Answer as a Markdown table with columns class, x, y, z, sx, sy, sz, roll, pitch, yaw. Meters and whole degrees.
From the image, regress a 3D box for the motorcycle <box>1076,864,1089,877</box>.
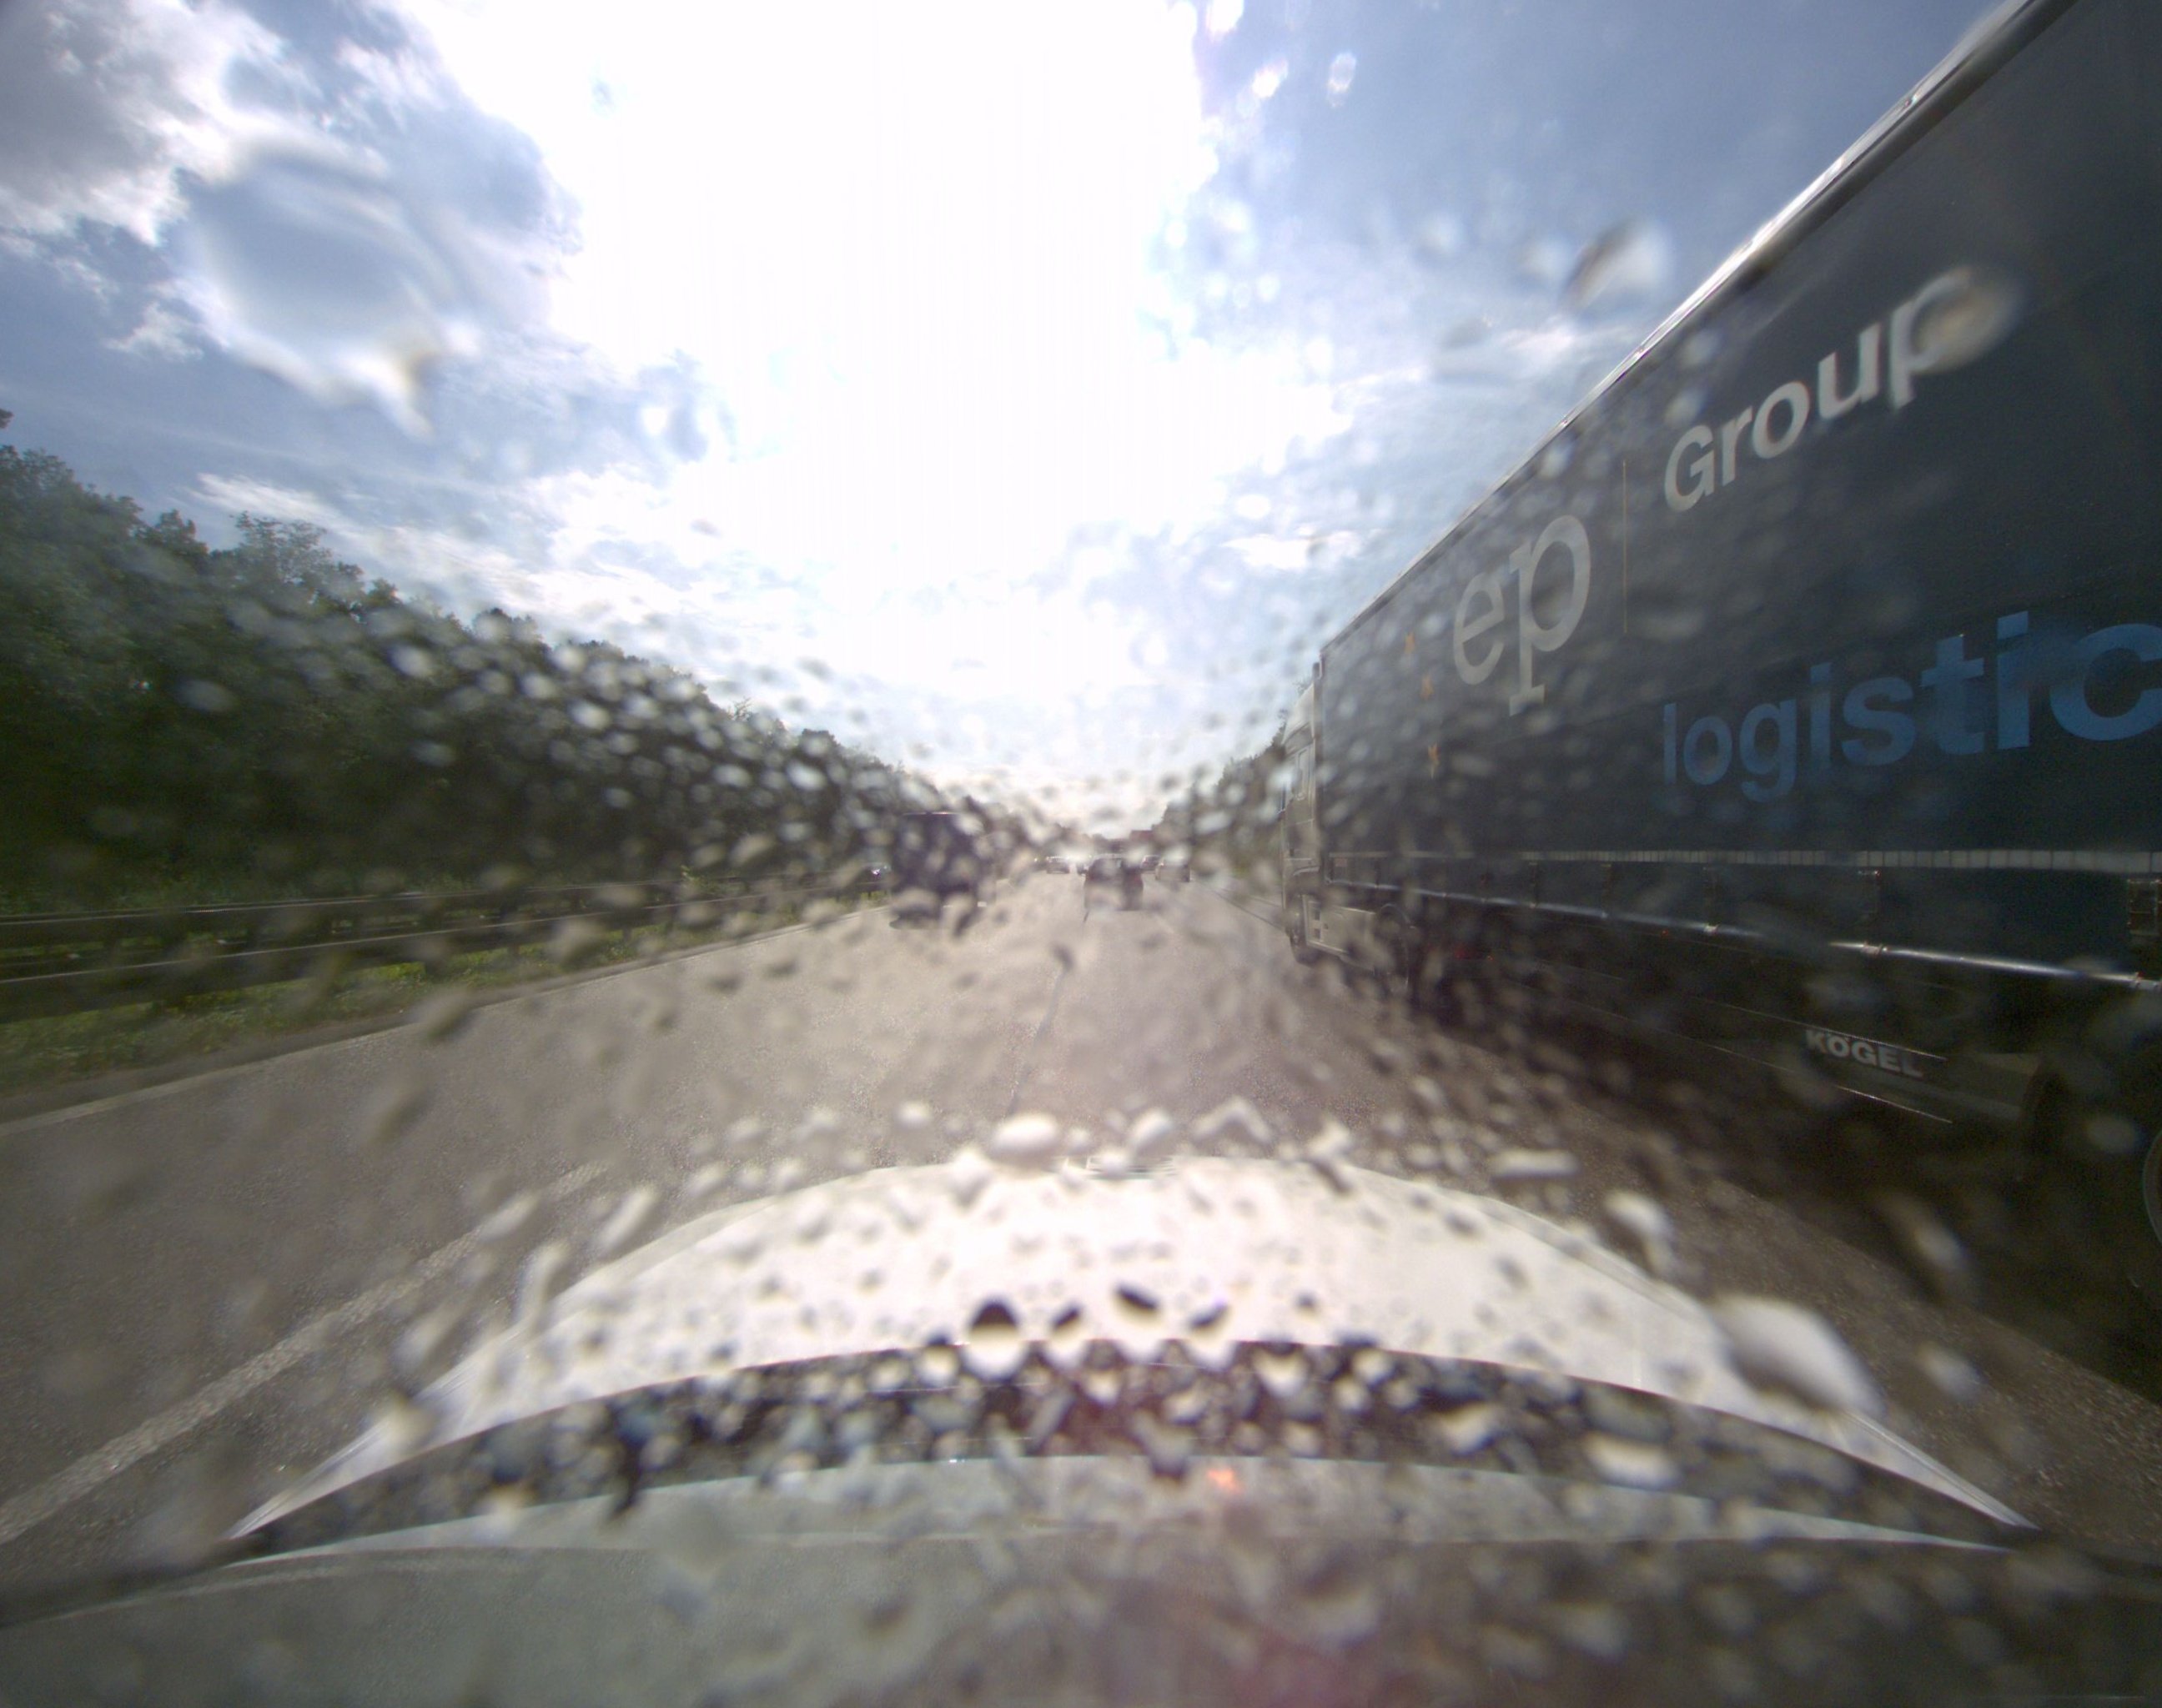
| class | x | y | z | sx | sy | sz | roll | pitch | yaw |
| --- | --- | --- | --- | --- | --- | --- | --- | --- | --- |
| motorcycle | 0.140 | 1.241 | 62.130 | 0.887 | 1.000 | 2.897 | 0 | 0 | 2 |

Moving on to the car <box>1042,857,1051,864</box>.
| class | x | y | z | sx | sy | sz | roll | pitch | yaw |
| --- | --- | --- | --- | --- | --- | --- | --- | --- | --- |
| car | -7.810 | 1.454 | 185.874 | 1.831 | 1.663 | 4.442 | 0 | 0 | 2 |

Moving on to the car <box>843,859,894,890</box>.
| class | x | y | z | sx | sy | sz | roll | pitch | yaw |
| --- | --- | --- | --- | --- | --- | --- | --- | --- | --- |
| car | -12.199 | 1.148 | 47.040 | 1.760 | 1.663 | 4.114 | 0 | 0 | 1 |

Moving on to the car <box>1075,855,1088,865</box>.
| class | x | y | z | sx | sy | sz | roll | pitch | yaw |
| --- | --- | --- | --- | --- | --- | --- | --- | --- | --- |
| car | 0.078 | 0.960 | 121.727 | 1.745 | 1.457 | 3.391 | 0 | 0 | 1 |

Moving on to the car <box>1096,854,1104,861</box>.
| class | x | y | z | sx | sy | sz | roll | pitch | yaw |
| --- | --- | --- | --- | --- | --- | --- | --- | --- | --- |
| car | 4.969 | 0.934 | 216.795 | 1.986 | 2.013 | 4.002 | -2 | 0 | 2 |

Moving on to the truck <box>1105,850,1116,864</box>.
| class | x | y | z | sx | sy | sz | roll | pitch | yaw |
| --- | --- | --- | --- | --- | --- | --- | --- | --- | --- |
| truck | 6.497 | 0.653 | 179.911 | 2.184 | 2.875 | 4.851 | 0 | 0 | 1 |

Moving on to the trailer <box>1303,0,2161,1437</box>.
| class | x | y | z | sx | sy | sz | roll | pitch | yaw |
| --- | --- | --- | --- | --- | --- | --- | --- | --- | --- |
| trailer | 3.965 | -0.591 | 3.558 | 2.624 | 3.996 | 14.071 | 0 | 0 | 2 |

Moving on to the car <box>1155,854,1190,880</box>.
| class | x | y | z | sx | sy | sz | roll | pitch | yaw |
| --- | --- | --- | --- | --- | --- | --- | --- | --- | --- |
| car | 5.275 | 0.721 | 47.556 | 1.686 | 1.425 | 4.221 | 0 | 0 | 2 |

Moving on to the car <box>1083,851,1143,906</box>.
| class | x | y | z | sx | sy | sz | roll | pitch | yaw |
| --- | --- | --- | --- | --- | --- | --- | --- | --- | --- |
| car | 0.969 | 0.724 | 25.087 | 1.711 | 1.568 | 3.486 | 0 | 0 | 1 |

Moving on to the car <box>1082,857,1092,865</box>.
| class | x | y | z | sx | sy | sz | roll | pitch | yaw |
| --- | --- | --- | --- | --- | --- | --- | --- | --- | --- |
| car | 1.130 | 1.223 | 146.227 | 1.745 | 1.457 | 3.391 | 0 | 0 | 1 |

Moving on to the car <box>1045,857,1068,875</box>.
| class | x | y | z | sx | sy | sz | roll | pitch | yaw |
| --- | --- | --- | --- | --- | --- | --- | --- | --- | --- |
| car | -2.111 | 1.026 | 71.607 | 1.848 | 1.551 | 3.486 | 0 | 0 | 1 |

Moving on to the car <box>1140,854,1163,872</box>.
| class | x | y | z | sx | sy | sz | roll | pitch | yaw |
| --- | --- | --- | --- | --- | --- | --- | --- | --- | --- |
| car | 5.833 | 0.749 | 67.838 | 1.674 | 1.442 | 3.906 | 0 | 0 | 1 |

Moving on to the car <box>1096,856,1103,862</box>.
| class | x | y | z | sx | sy | sz | roll | pitch | yaw |
| --- | --- | --- | --- | --- | --- | --- | --- | --- | --- |
| car | 5.378 | 1.427 | 240.863 | 1.986 | 1.701 | 4.002 | -2 | 0 | 2 |

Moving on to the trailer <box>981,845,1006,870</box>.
| class | x | y | z | sx | sy | sz | roll | pitch | yaw |
| --- | --- | --- | --- | --- | --- | --- | --- | --- | --- |
| trailer | -16.244 | 0.625 | 152.078 | 2.852 | 4.373 | 14.097 | 0 | 0 | 2 |

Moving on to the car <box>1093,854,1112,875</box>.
| class | x | y | z | sx | sy | sz | roll | pitch | yaw |
| --- | --- | --- | --- | --- | --- | --- | --- | --- | --- |
| car | 1.865 | 0.886 | 70.033 | 1.526 | 1.746 | 3.486 | 0 | 0 | 1 |

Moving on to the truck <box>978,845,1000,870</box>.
| class | x | y | z | sx | sy | sz | roll | pitch | yaw |
| --- | --- | --- | --- | --- | --- | --- | --- | --- | --- |
| truck | -16.433 | 0.581 | 145.603 | 2.852 | 4.373 | 6.870 | 0 | 0 | 1 |

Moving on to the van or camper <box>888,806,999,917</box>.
| class | x | y | z | sx | sy | sz | roll | pitch | yaw |
| --- | --- | --- | --- | --- | --- | --- | --- | --- | --- |
| van or camper | -3.589 | 0.204 | 22.360 | 1.986 | 2.669 | 5.386 | 0 | 0 | 2 |

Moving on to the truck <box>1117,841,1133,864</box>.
| class | x | y | z | sx | sy | sz | roll | pitch | yaw |
| --- | --- | --- | --- | --- | --- | --- | --- | --- | --- |
| truck | 9.188 | -0.295 | 169.492 | 3.242 | 4.479 | 12.431 | 0 | 0 | 3 |

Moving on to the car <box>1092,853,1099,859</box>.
| class | x | y | z | sx | sy | sz | roll | pitch | yaw |
| --- | --- | --- | --- | --- | --- | --- | --- | --- | --- |
| car | 3.111 | 0.426 | 174.107 | 1.479 | 1.390 | 3.199 | 0 | 0 | 1 |

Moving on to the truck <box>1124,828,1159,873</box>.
| class | x | y | z | sx | sy | sz | roll | pitch | yaw |
| --- | --- | --- | --- | --- | --- | --- | --- | --- | --- |
| truck | 6.832 | -0.327 | 93.257 | 3.634 | 4.720 | 16.793 | 0 | 0 | 3 |

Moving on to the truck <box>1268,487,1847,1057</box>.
| class | x | y | z | sx | sy | sz | roll | pitch | yaw |
| --- | --- | --- | --- | --- | --- | --- | --- | --- | --- |
| truck | 4.172 | -0.551 | 9.383 | 2.597 | 3.996 | 7.293 | 0 | 0 | 2 |

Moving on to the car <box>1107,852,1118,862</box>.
| class | x | y | z | sx | sy | sz | roll | pitch | yaw |
| --- | --- | --- | --- | --- | --- | --- | --- | --- | --- |
| car | 4.544 | 0.458 | 118.648 | 1.547 | 1.383 | 3.211 | 0 | 0 | 1 |

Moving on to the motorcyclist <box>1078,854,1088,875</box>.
| class | x | y | z | sx | sy | sz | roll | pitch | yaw |
| --- | --- | --- | --- | --- | --- | --- | --- | --- | --- |
| motorcyclist | 0.155 | 0.793 | 62.259 | 0.799 | 1.633 | 1.013 | 0 | -1 | 1 |
